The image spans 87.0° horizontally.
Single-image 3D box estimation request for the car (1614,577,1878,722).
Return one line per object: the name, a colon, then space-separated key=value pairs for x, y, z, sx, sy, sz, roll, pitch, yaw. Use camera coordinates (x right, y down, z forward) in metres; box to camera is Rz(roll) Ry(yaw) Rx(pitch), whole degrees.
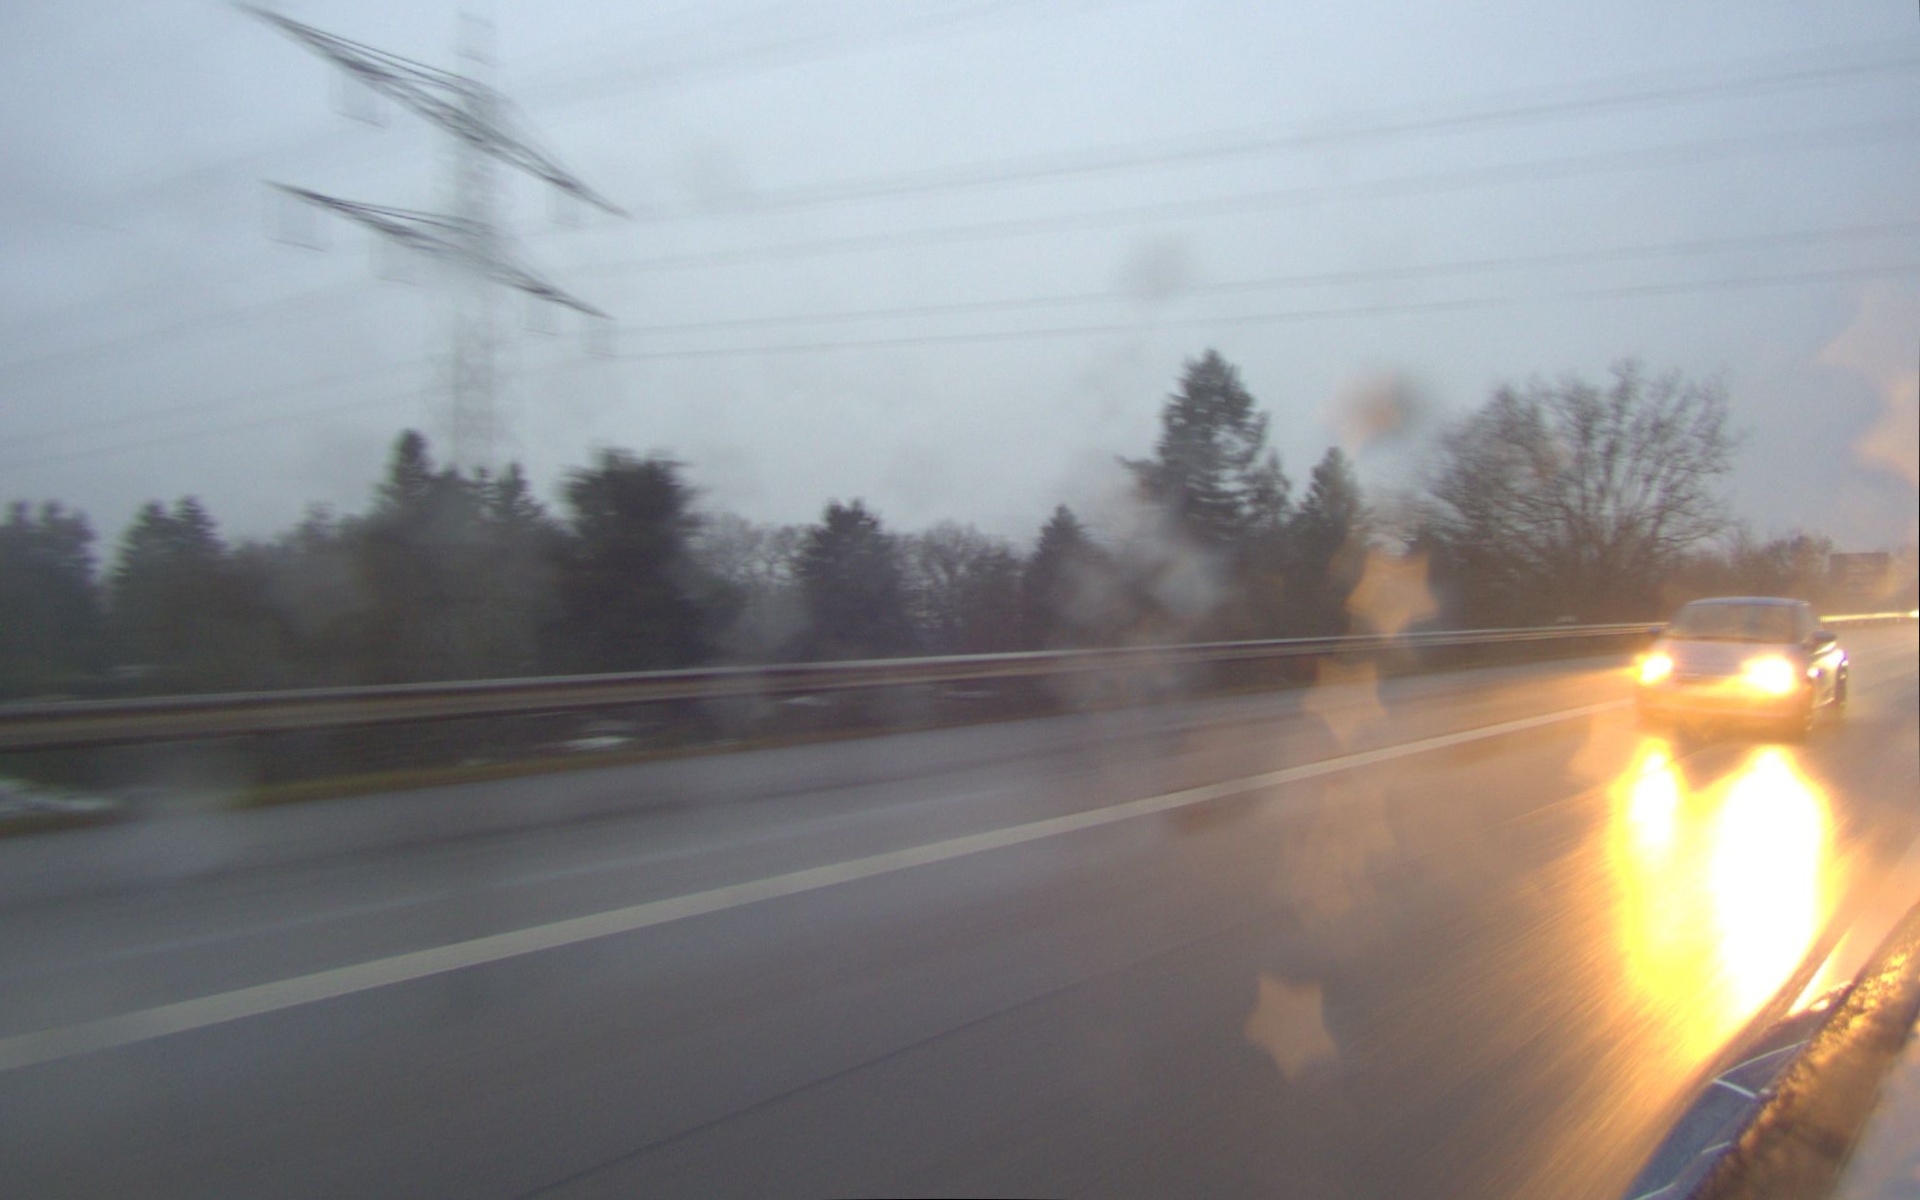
car: x=9.838 y=0.490 z=12.561 sx=4.077 sy=1.472 sz=1.848 roll=-2 pitch=1 yaw=-41
